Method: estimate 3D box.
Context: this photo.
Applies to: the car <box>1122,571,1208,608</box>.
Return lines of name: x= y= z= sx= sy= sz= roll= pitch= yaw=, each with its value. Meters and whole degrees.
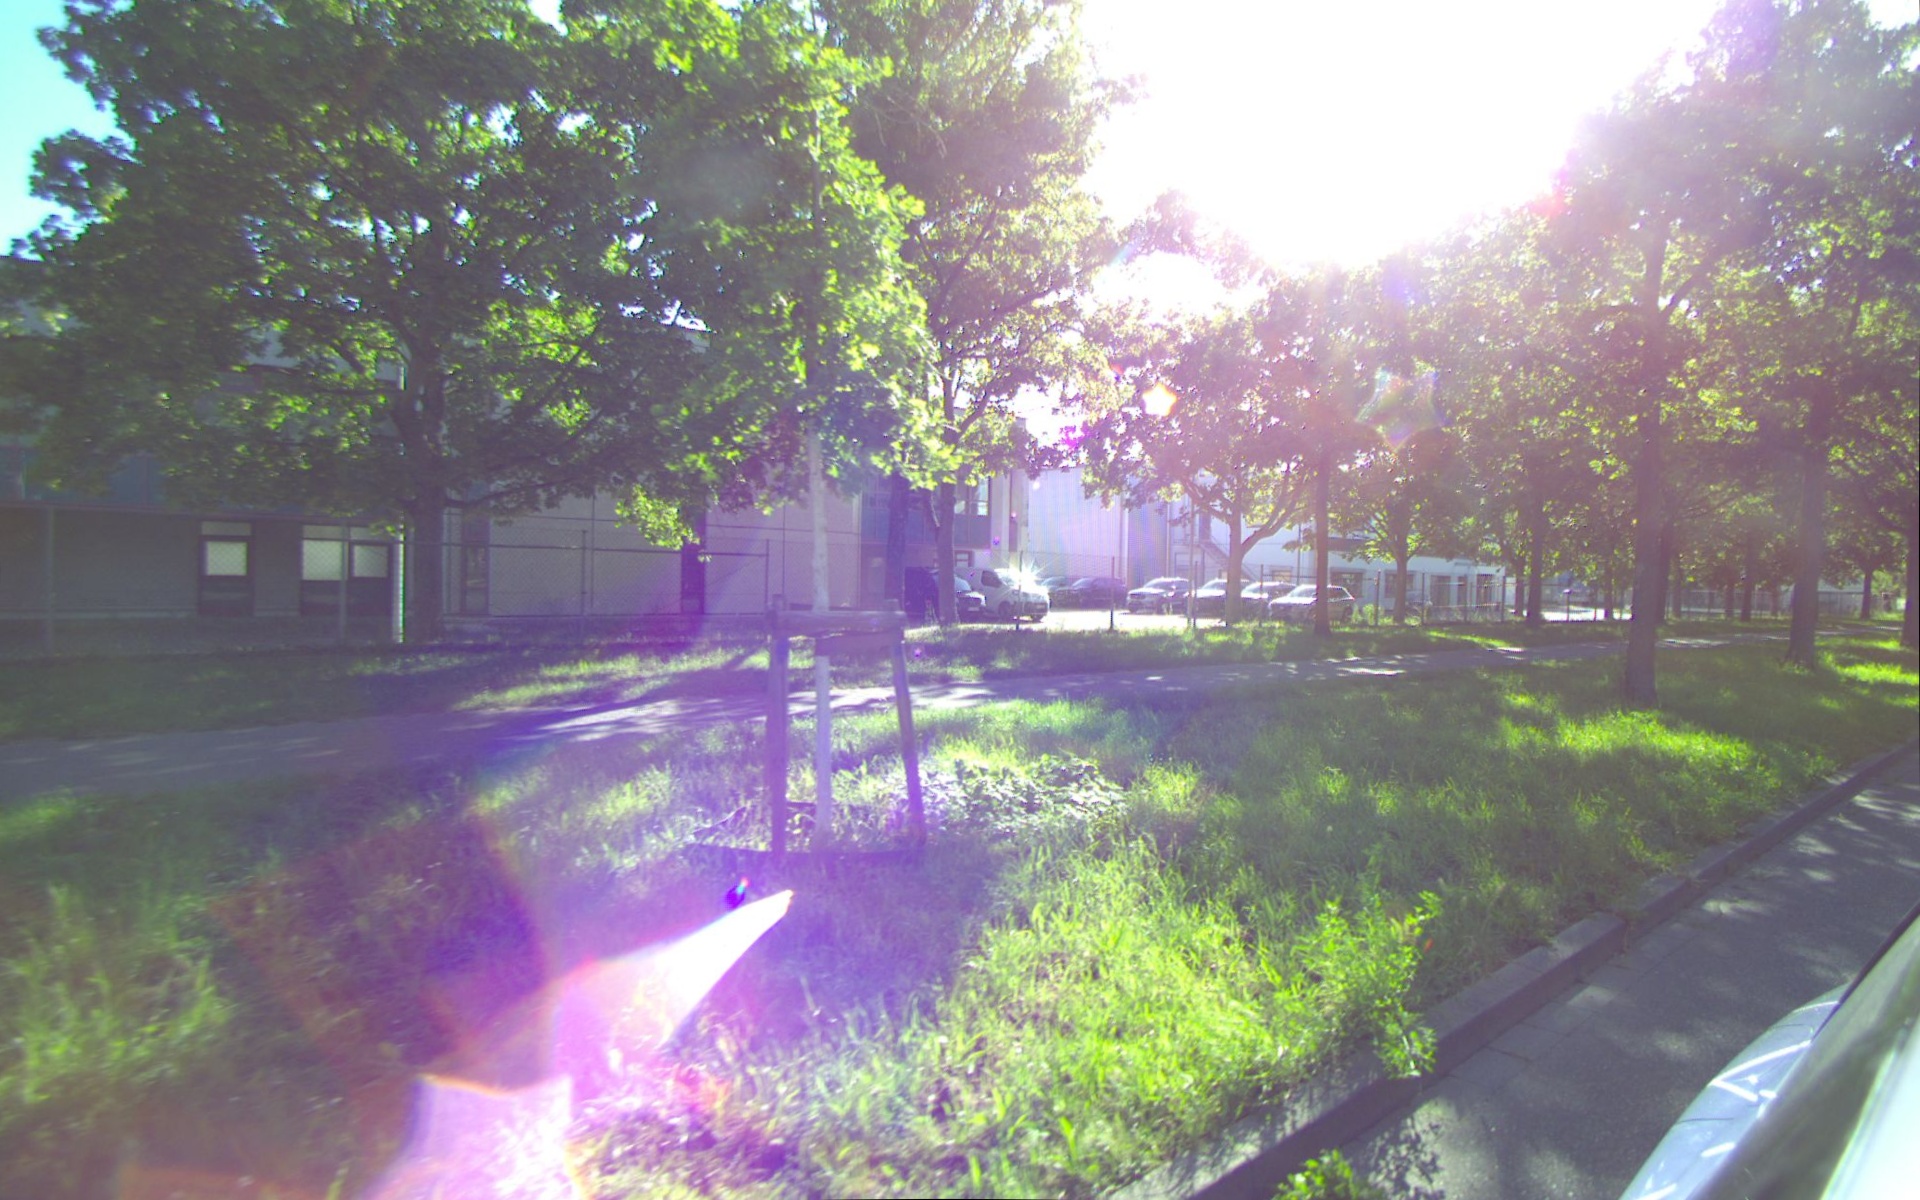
car: x=9.885 y=-0.508 z=48.638 sx=4.383 sy=1.694 sz=1.994 roll=-1 pitch=0 yaw=-45

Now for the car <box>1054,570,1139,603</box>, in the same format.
car: x=7.079 y=-0.692 z=52.304 sx=4.371 sy=1.677 sz=1.700 roll=0 pitch=0 yaw=-34

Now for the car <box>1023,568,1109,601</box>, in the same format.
car: x=5.730 y=-0.824 z=54.381 sx=4.629 sy=1.694 sz=1.707 roll=0 pitch=0 yaw=-34

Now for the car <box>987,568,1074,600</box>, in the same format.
car: x=3.933 y=-0.886 z=56.104 sx=4.878 sy=1.694 sz=1.742 roll=-1 pitch=0 yaw=-37

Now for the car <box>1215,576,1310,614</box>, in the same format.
car: x=13.375 y=-0.226 z=44.601 sx=4.379 sy=1.578 sz=1.997 roll=0 pitch=2 yaw=-42

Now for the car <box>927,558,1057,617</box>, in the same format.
car: x=1.144 y=-0.534 z=38.625 sx=1.864 sy=1.983 sz=5.069 roll=0 pitch=3 yaw=-44

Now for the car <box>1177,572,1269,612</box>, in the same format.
car: x=12.141 y=-0.370 z=46.566 sx=4.379 sy=1.694 sz=1.997 roll=0 pitch=2 yaw=-42

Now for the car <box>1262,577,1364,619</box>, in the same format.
car: x=14.758 y=-0.122 z=42.208 sx=4.634 sy=1.626 sz=1.997 roll=-1 pitch=3 yaw=-42

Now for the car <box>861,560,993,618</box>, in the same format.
car: x=-1.269 y=-0.454 z=36.566 sx=1.967 sy=1.907 sz=4.952 roll=0 pitch=2 yaw=-44
